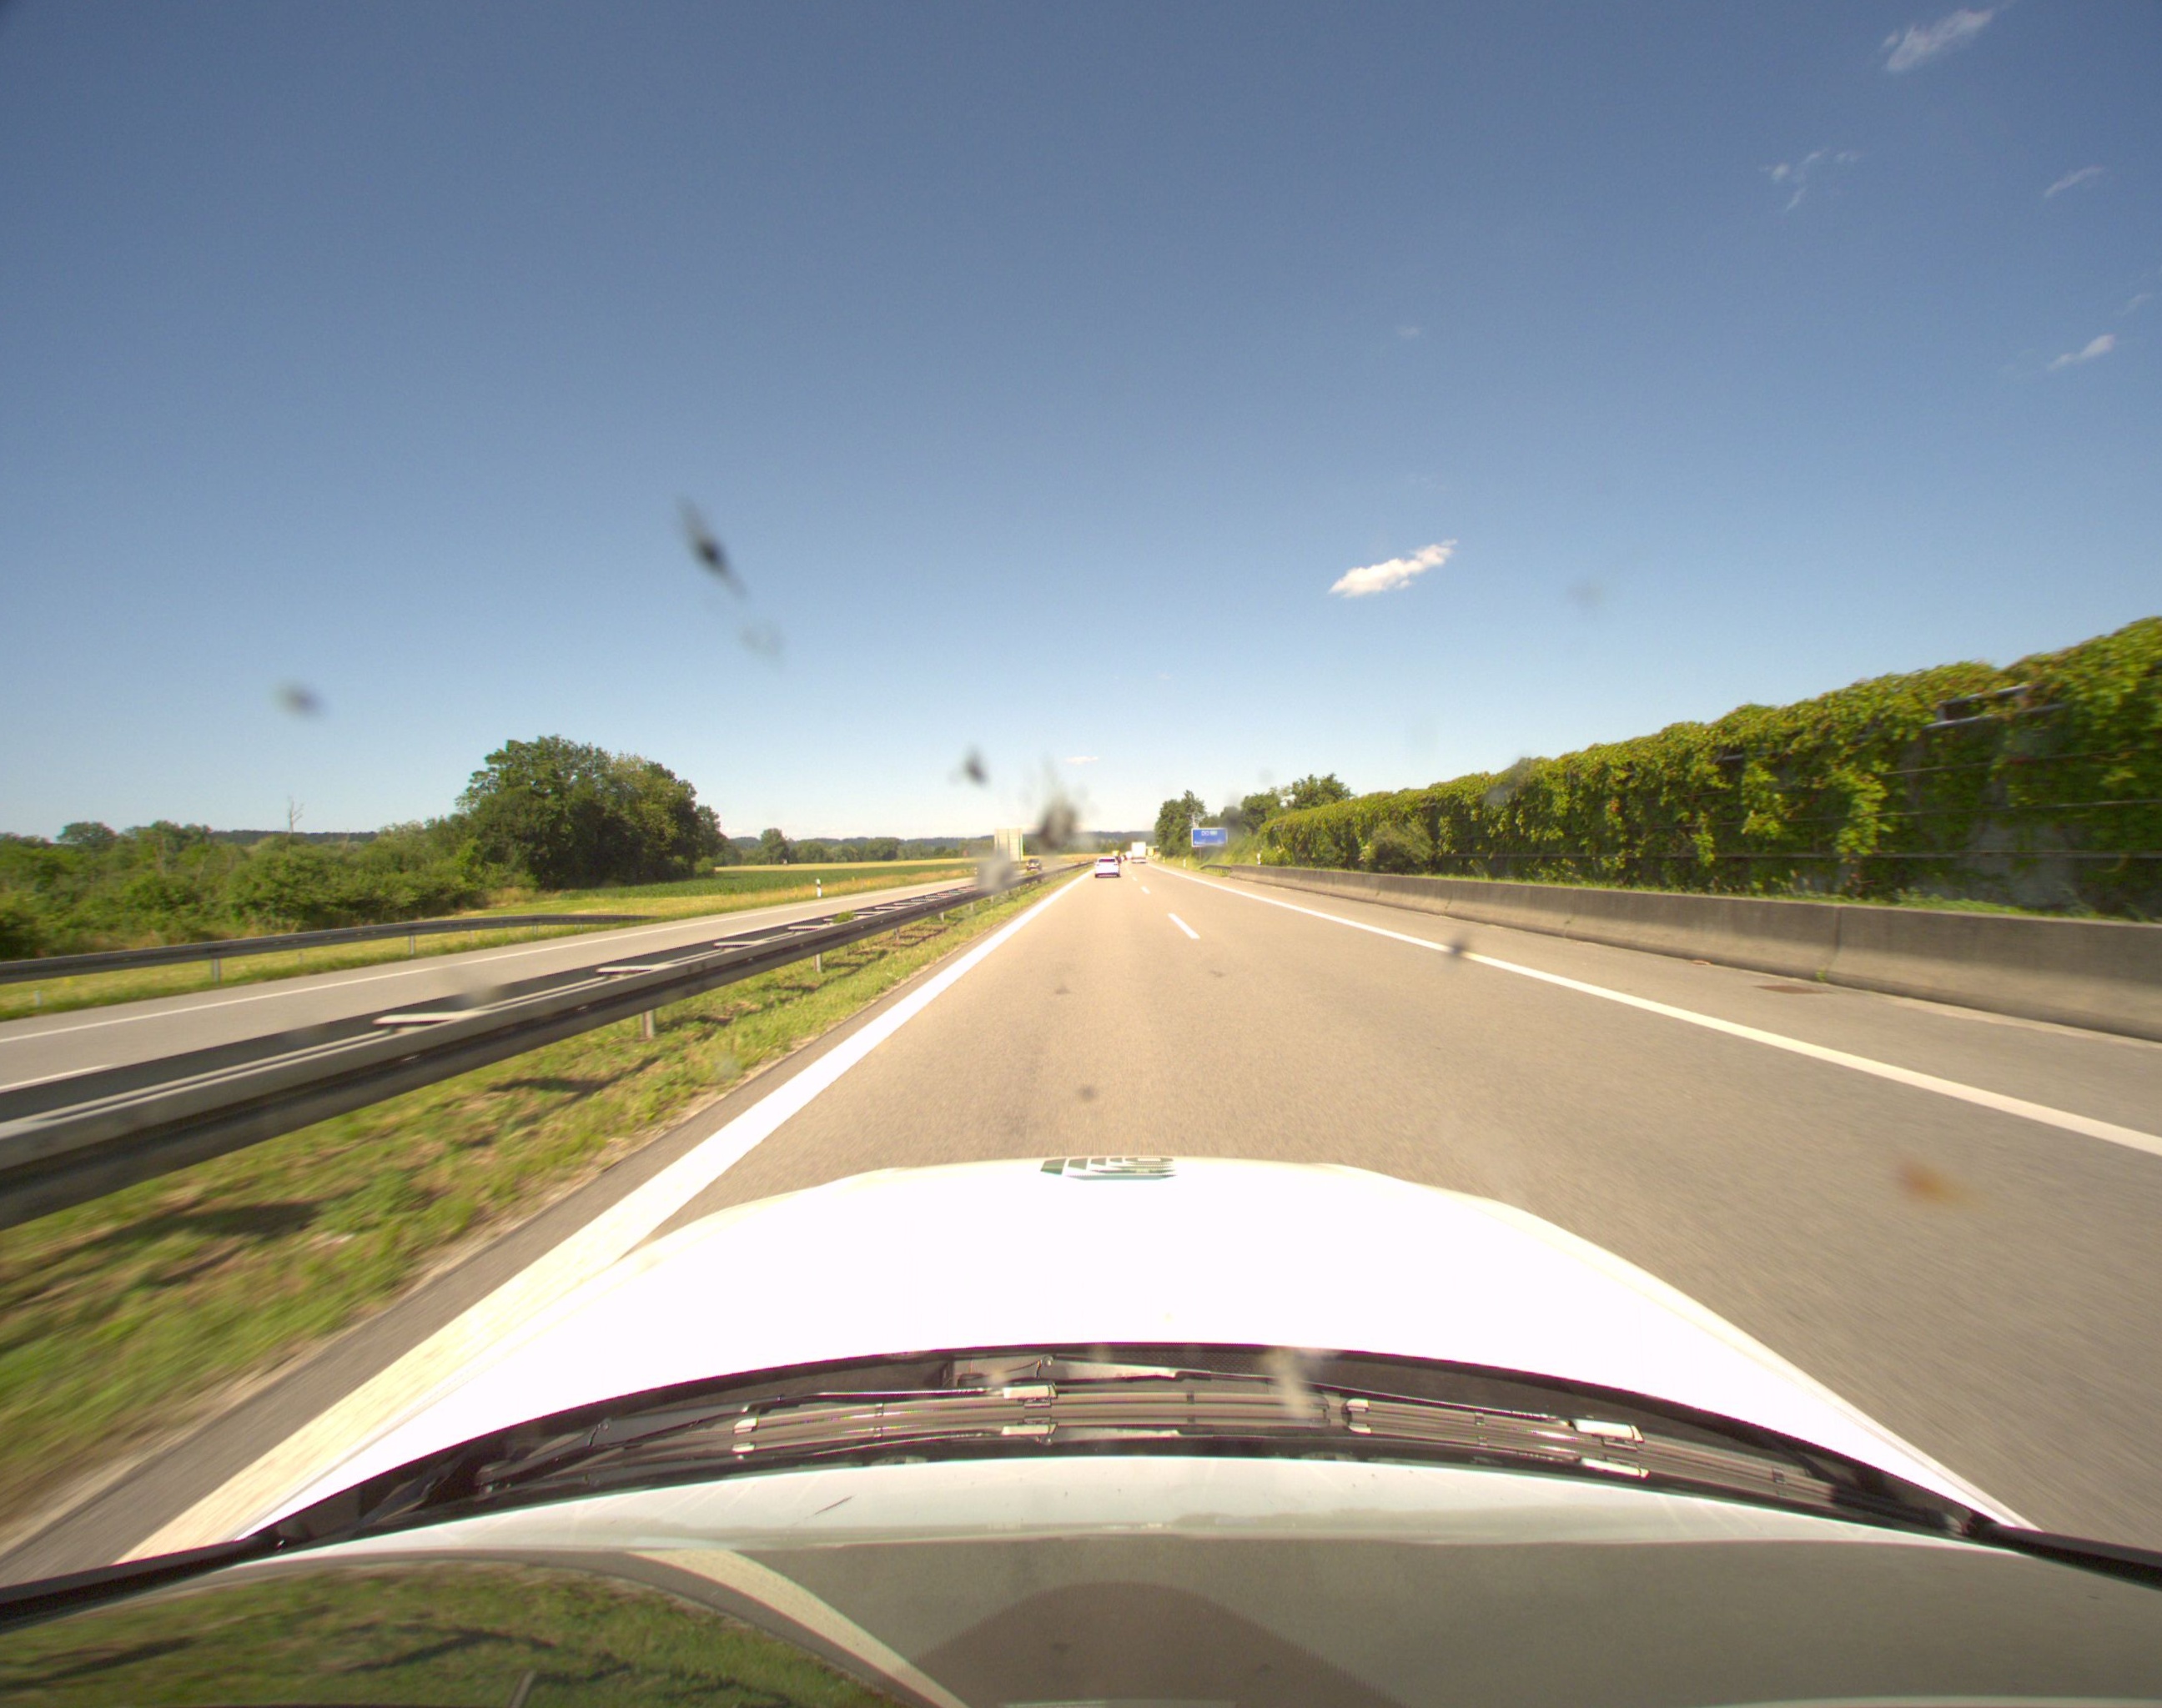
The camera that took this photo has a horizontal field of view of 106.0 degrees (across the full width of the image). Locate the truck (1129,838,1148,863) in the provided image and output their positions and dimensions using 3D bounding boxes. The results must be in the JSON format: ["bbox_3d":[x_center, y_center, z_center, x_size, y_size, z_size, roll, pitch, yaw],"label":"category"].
[{"bbox_3d":[10.797,-0.657,153.825,3.140,4.612,8.910,-2,0,2],"label":"truck"}]

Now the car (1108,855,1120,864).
[{"bbox_3d":[5.137,0.879,126.502,1.764,1.421,4.497,-1,0,2],"label":"car"}]

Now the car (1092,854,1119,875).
[{"bbox_3d":[1.781,0.730,58.282,1.833,1.421,5.257,0,0,2],"label":"car"}]

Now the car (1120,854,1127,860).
[{"bbox_3d":[11.971,0.853,226.787,1.763,1.421,4.371,-1,0,5],"label":"car"}]

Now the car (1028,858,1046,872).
[{"bbox_3d":[-6.046,1.511,112.958,1.986,1.661,4.778,-3,0,2],"label":"car"}]

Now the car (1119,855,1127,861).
[{"bbox_3d":[10.679,0.975,207.672,1.763,1.421,4.370,-1,0,4],"label":"car"}]
